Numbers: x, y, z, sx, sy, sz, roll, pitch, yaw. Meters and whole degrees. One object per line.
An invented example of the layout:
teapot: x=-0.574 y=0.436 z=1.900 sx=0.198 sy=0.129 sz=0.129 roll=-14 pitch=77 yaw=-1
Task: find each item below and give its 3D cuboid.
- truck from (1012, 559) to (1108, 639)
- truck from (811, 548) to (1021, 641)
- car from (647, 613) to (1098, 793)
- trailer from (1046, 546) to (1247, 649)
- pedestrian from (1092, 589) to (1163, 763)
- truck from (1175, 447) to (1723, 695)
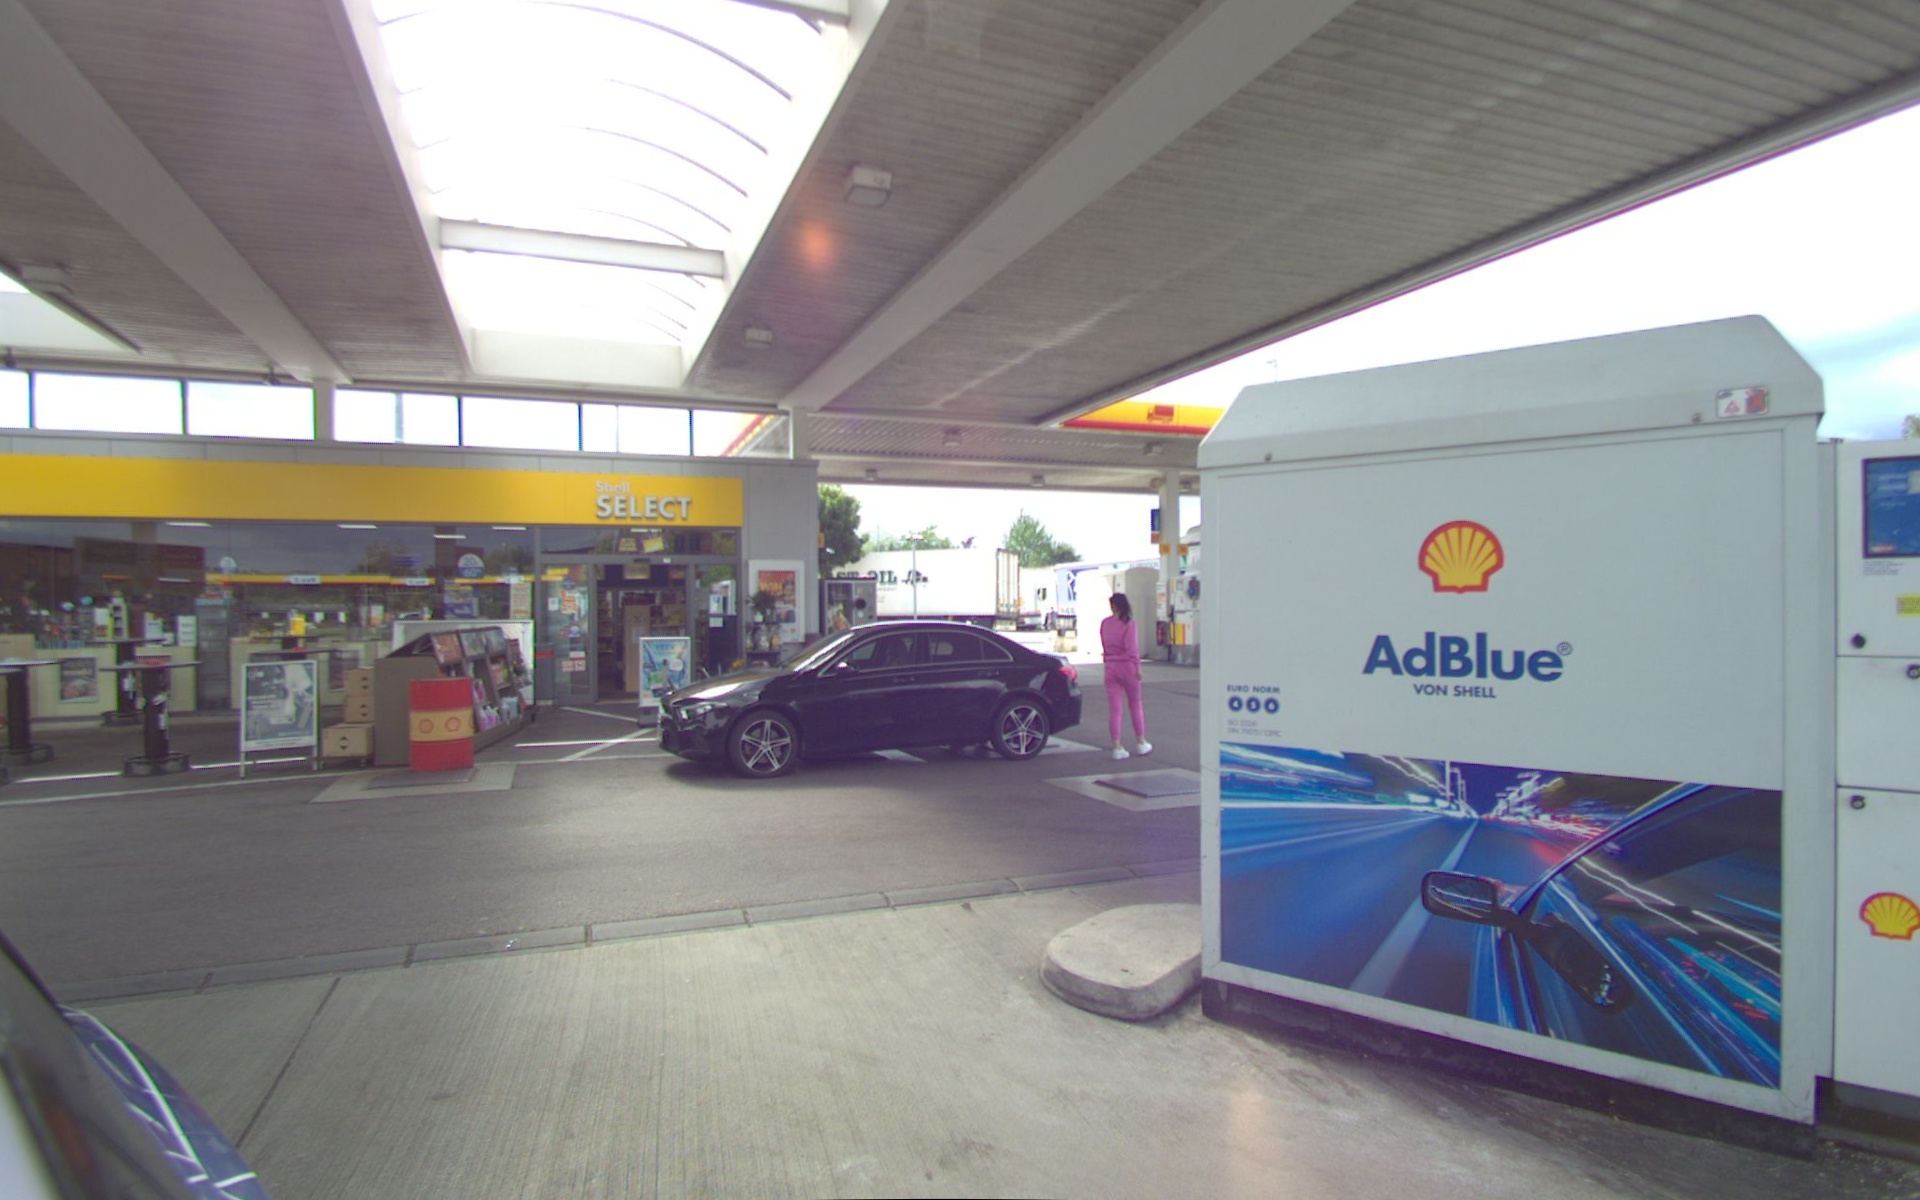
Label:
truck: x=5.924 y=-0.052 z=61.221 sx=3.333 sy=4.538 sz=6.249 roll=-1 pitch=0 yaw=-20
truck: x=-2.106 y=-0.183 z=46.839 sx=9.536 sy=4.036 sz=2.772 roll=-1 pitch=0 yaw=25
car: x=-0.928 y=0.942 z=10.678 sx=4.394 sy=1.511 sz=1.785 roll=-1 pitch=0 yaw=-21
trailer: x=9.102 y=-0.103 z=52.673 sx=3.294 sy=4.600 sz=14.397 roll=-1 pitch=0 yaw=-20
pedestrian: x=1.735 y=0.757 z=10.441 sx=0.622 sy=1.726 sz=0.619 roll=-1 pitch=0 yaw=18
truck: x=9.654 y=-0.466 z=23.102 sx=2.491 sy=4.069 sz=12.947 roll=-1 pitch=0 yaw=-22
